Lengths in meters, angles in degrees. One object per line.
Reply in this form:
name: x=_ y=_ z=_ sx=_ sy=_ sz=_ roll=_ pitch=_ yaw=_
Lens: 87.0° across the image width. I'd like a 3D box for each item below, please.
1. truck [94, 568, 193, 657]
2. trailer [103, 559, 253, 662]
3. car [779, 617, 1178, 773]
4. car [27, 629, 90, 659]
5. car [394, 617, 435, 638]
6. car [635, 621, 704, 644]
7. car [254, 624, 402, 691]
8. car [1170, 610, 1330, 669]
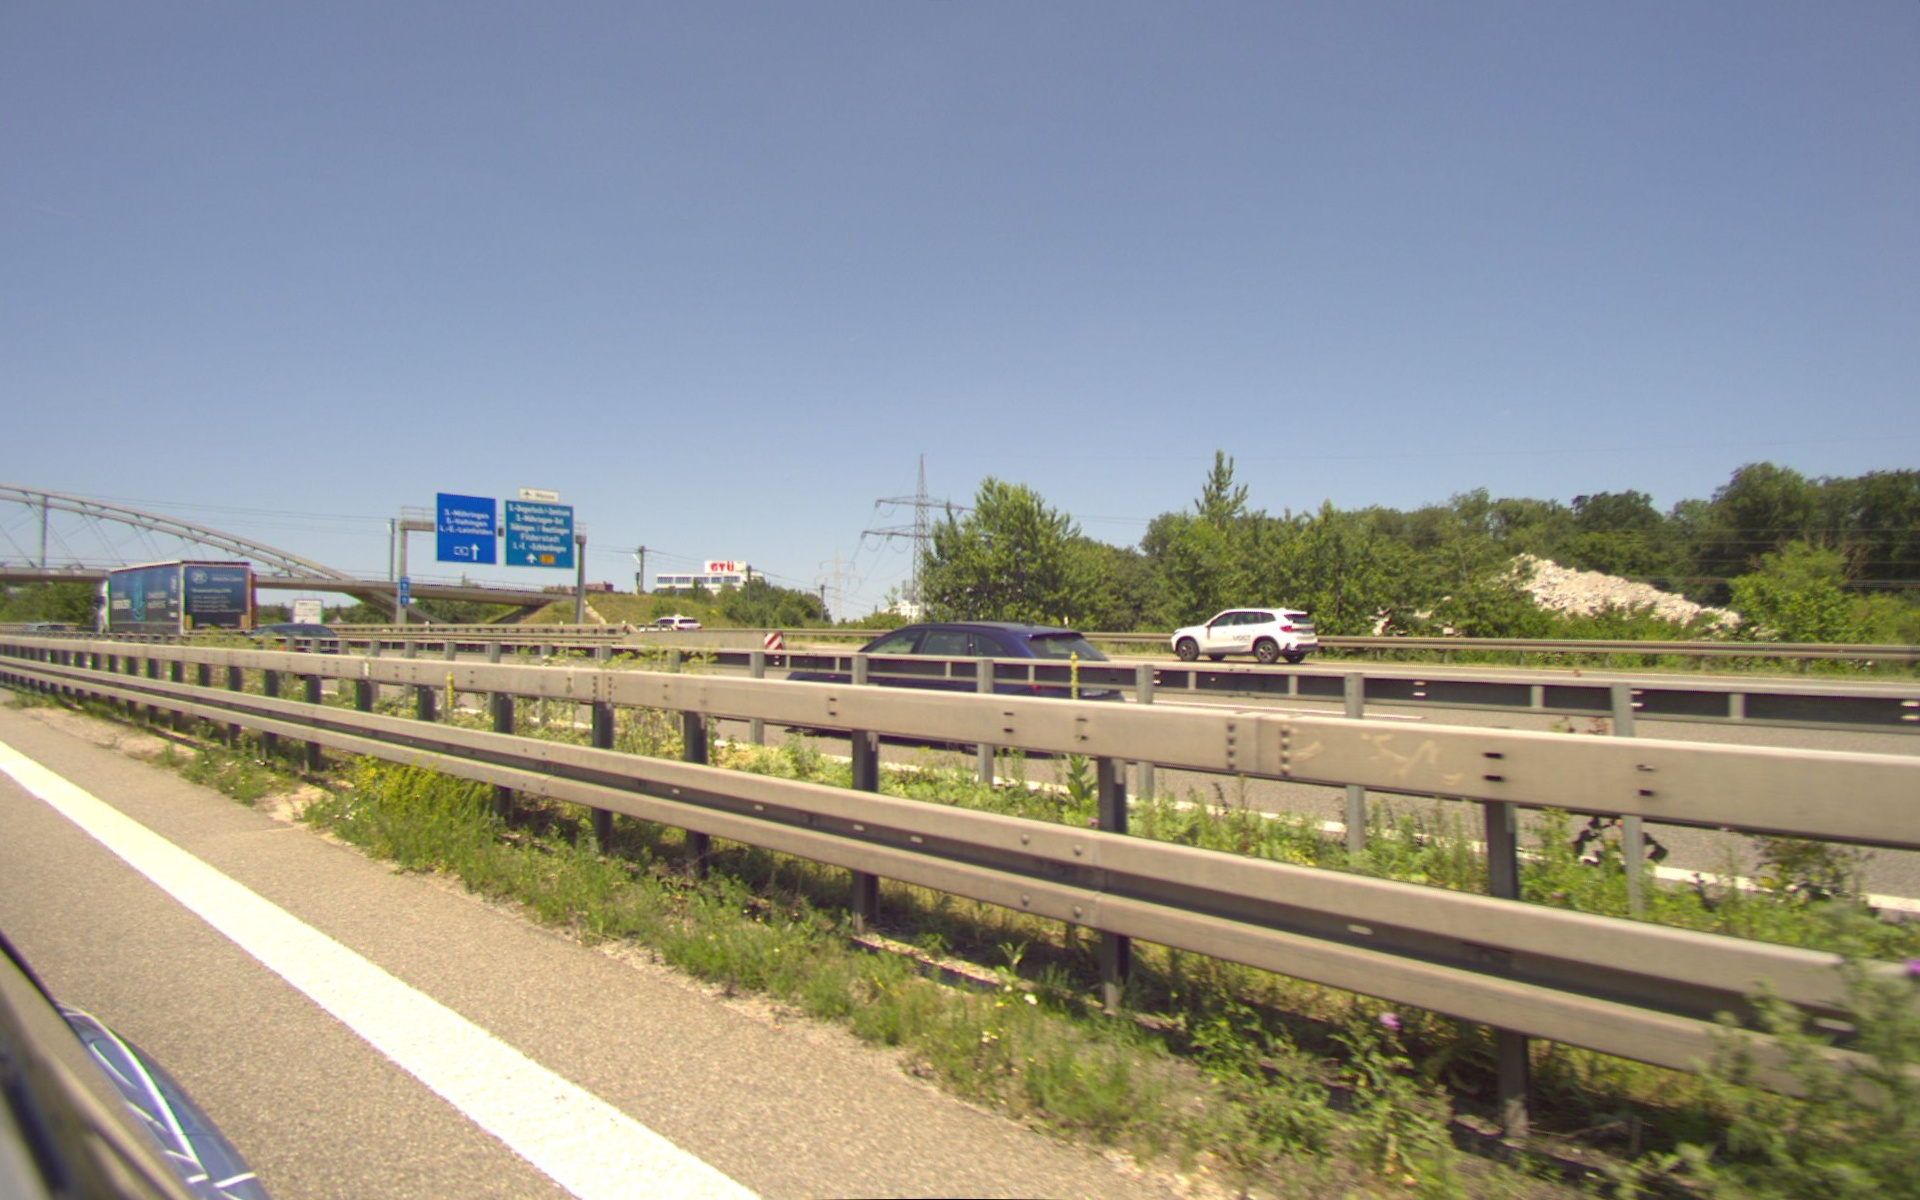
truck: x=-42.922 y=0.680 z=53.131 sx=6.912 sy=4.377 sz=2.897 roll=-1 pitch=-1 yaw=41
trailer: x=-38.157 y=0.529 z=49.029 sx=14.611 sy=4.375 sz=2.915 roll=-1 pitch=-1 yaw=41
car: x=0.028 y=0.958 z=11.802 sx=4.702 sy=1.475 sz=1.660 roll=-1 pitch=-1 yaw=41
car: x=-46.471 y=2.236 z=52.147 sx=4.636 sy=1.475 sz=1.848 roll=-1 pitch=-1 yaw=41
car: x=-47.085 y=2.392 z=87.364 sx=3.999 sy=1.757 sz=1.849 roll=-1 pitch=-1 yaw=42
car: x=-16.419 y=1.806 z=57.054 sx=4.400 sy=1.212 sz=1.660 roll=-1 pitch=-1 yaw=41
car: x=-15.666 y=1.357 z=24.996 sx=4.636 sy=1.475 sz=1.848 roll=-1 pitch=-1 yaw=41
car: x=8.605 y=1.144 z=30.311 sx=1.657 sy=1.625 sz=4.408 roll=0 pitch=-1 yaw=-41
